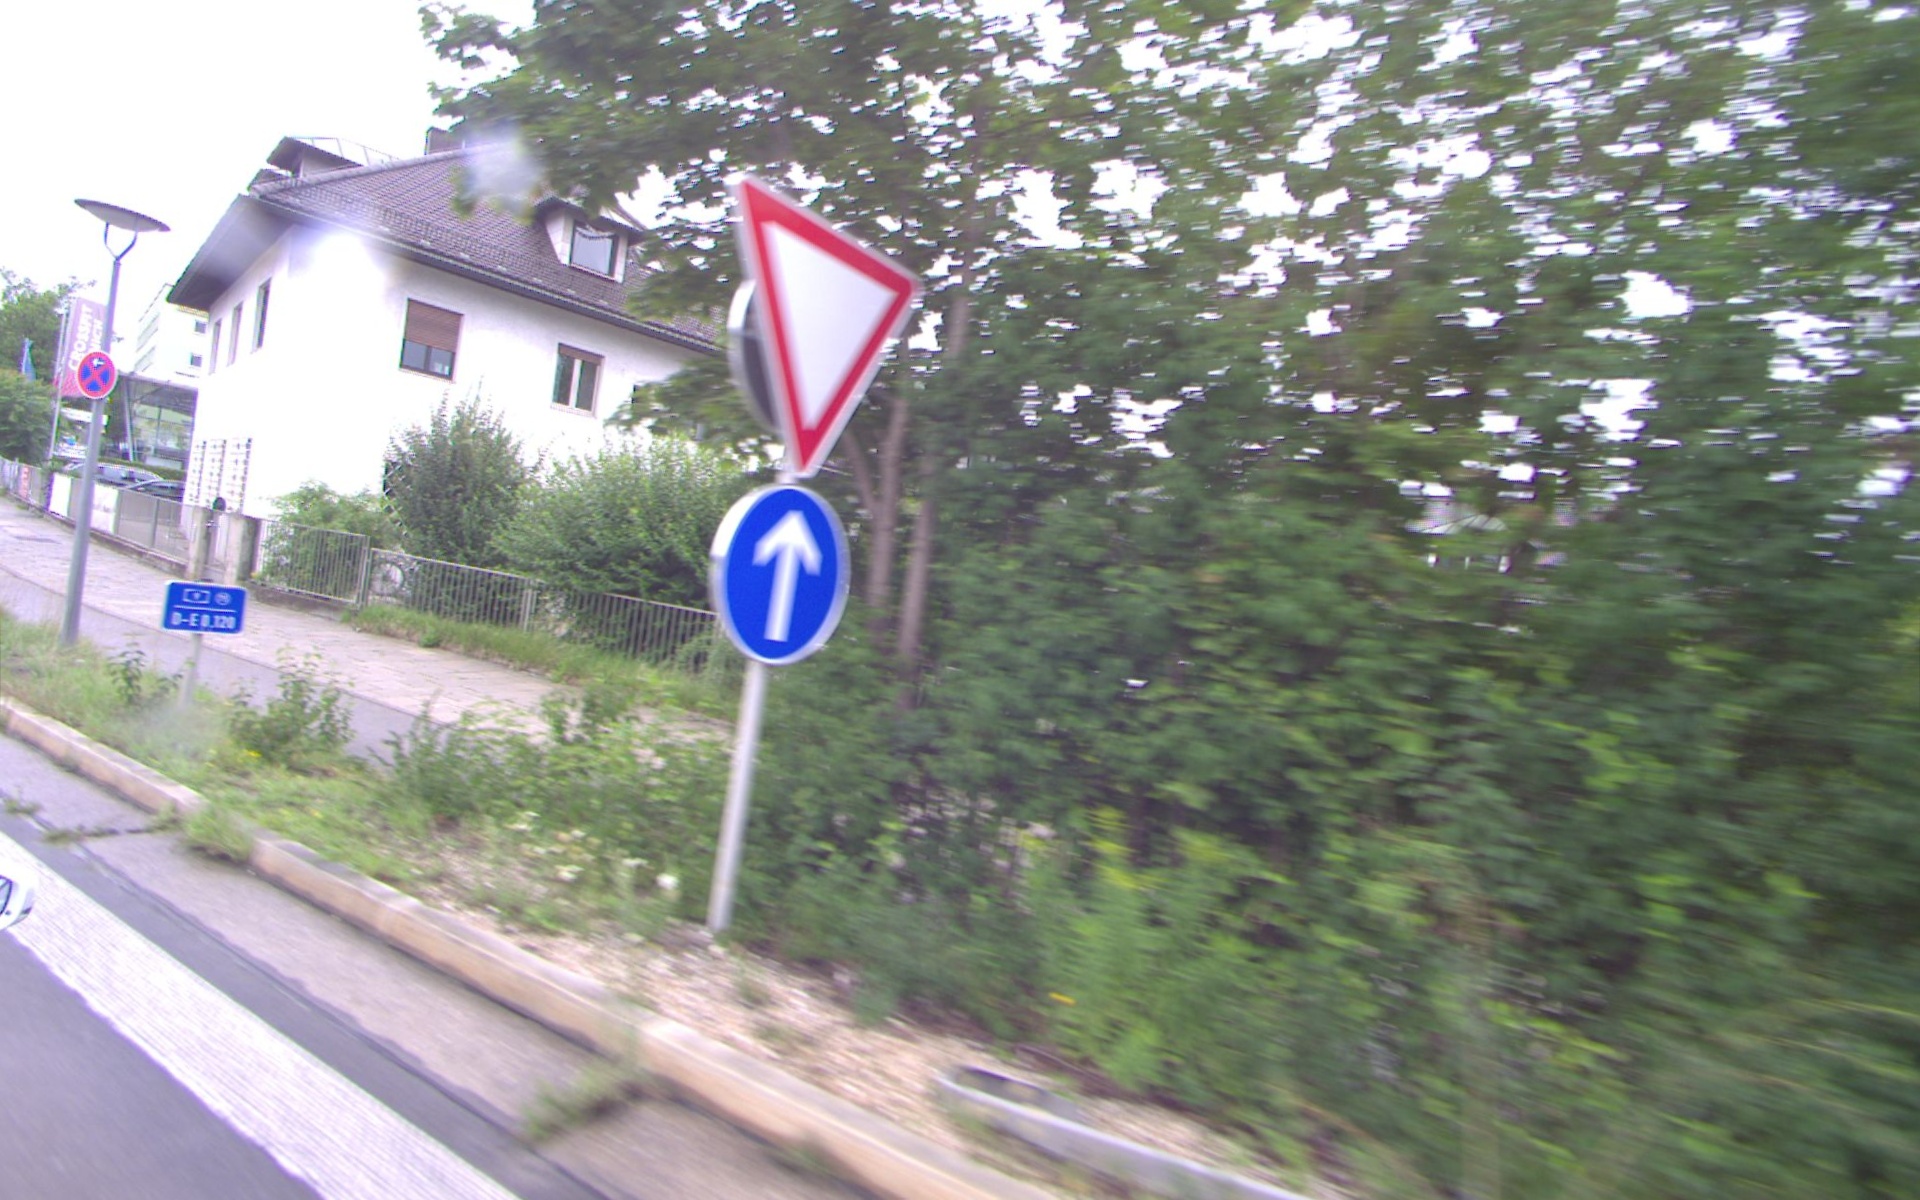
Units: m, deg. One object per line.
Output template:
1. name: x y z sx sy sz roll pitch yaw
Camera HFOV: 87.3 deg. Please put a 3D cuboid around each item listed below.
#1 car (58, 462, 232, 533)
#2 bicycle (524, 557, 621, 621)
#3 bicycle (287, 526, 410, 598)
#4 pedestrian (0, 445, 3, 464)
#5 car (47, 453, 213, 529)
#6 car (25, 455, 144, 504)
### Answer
1. car: -26.119 -3.277 32.331 1.902 1.467 4.088 9 0 45
2. bicycle: -8.443 -0.223 21.979 0.467 1.126 1.841 9 0 44
3. bicycle: -11.647 -0.711 19.216 0.467 1.082 1.841 9 0 44
4. pedestrian: -92.461 -14.019 96.623 0.882 1.753 0.756 10 6 41
5. car: -28.150 -3.679 34.183 1.901 1.747 4.088 10 0 45
6. car: -40.631 -5.580 46.757 4.003 1.478 1.770 8 1 -44
